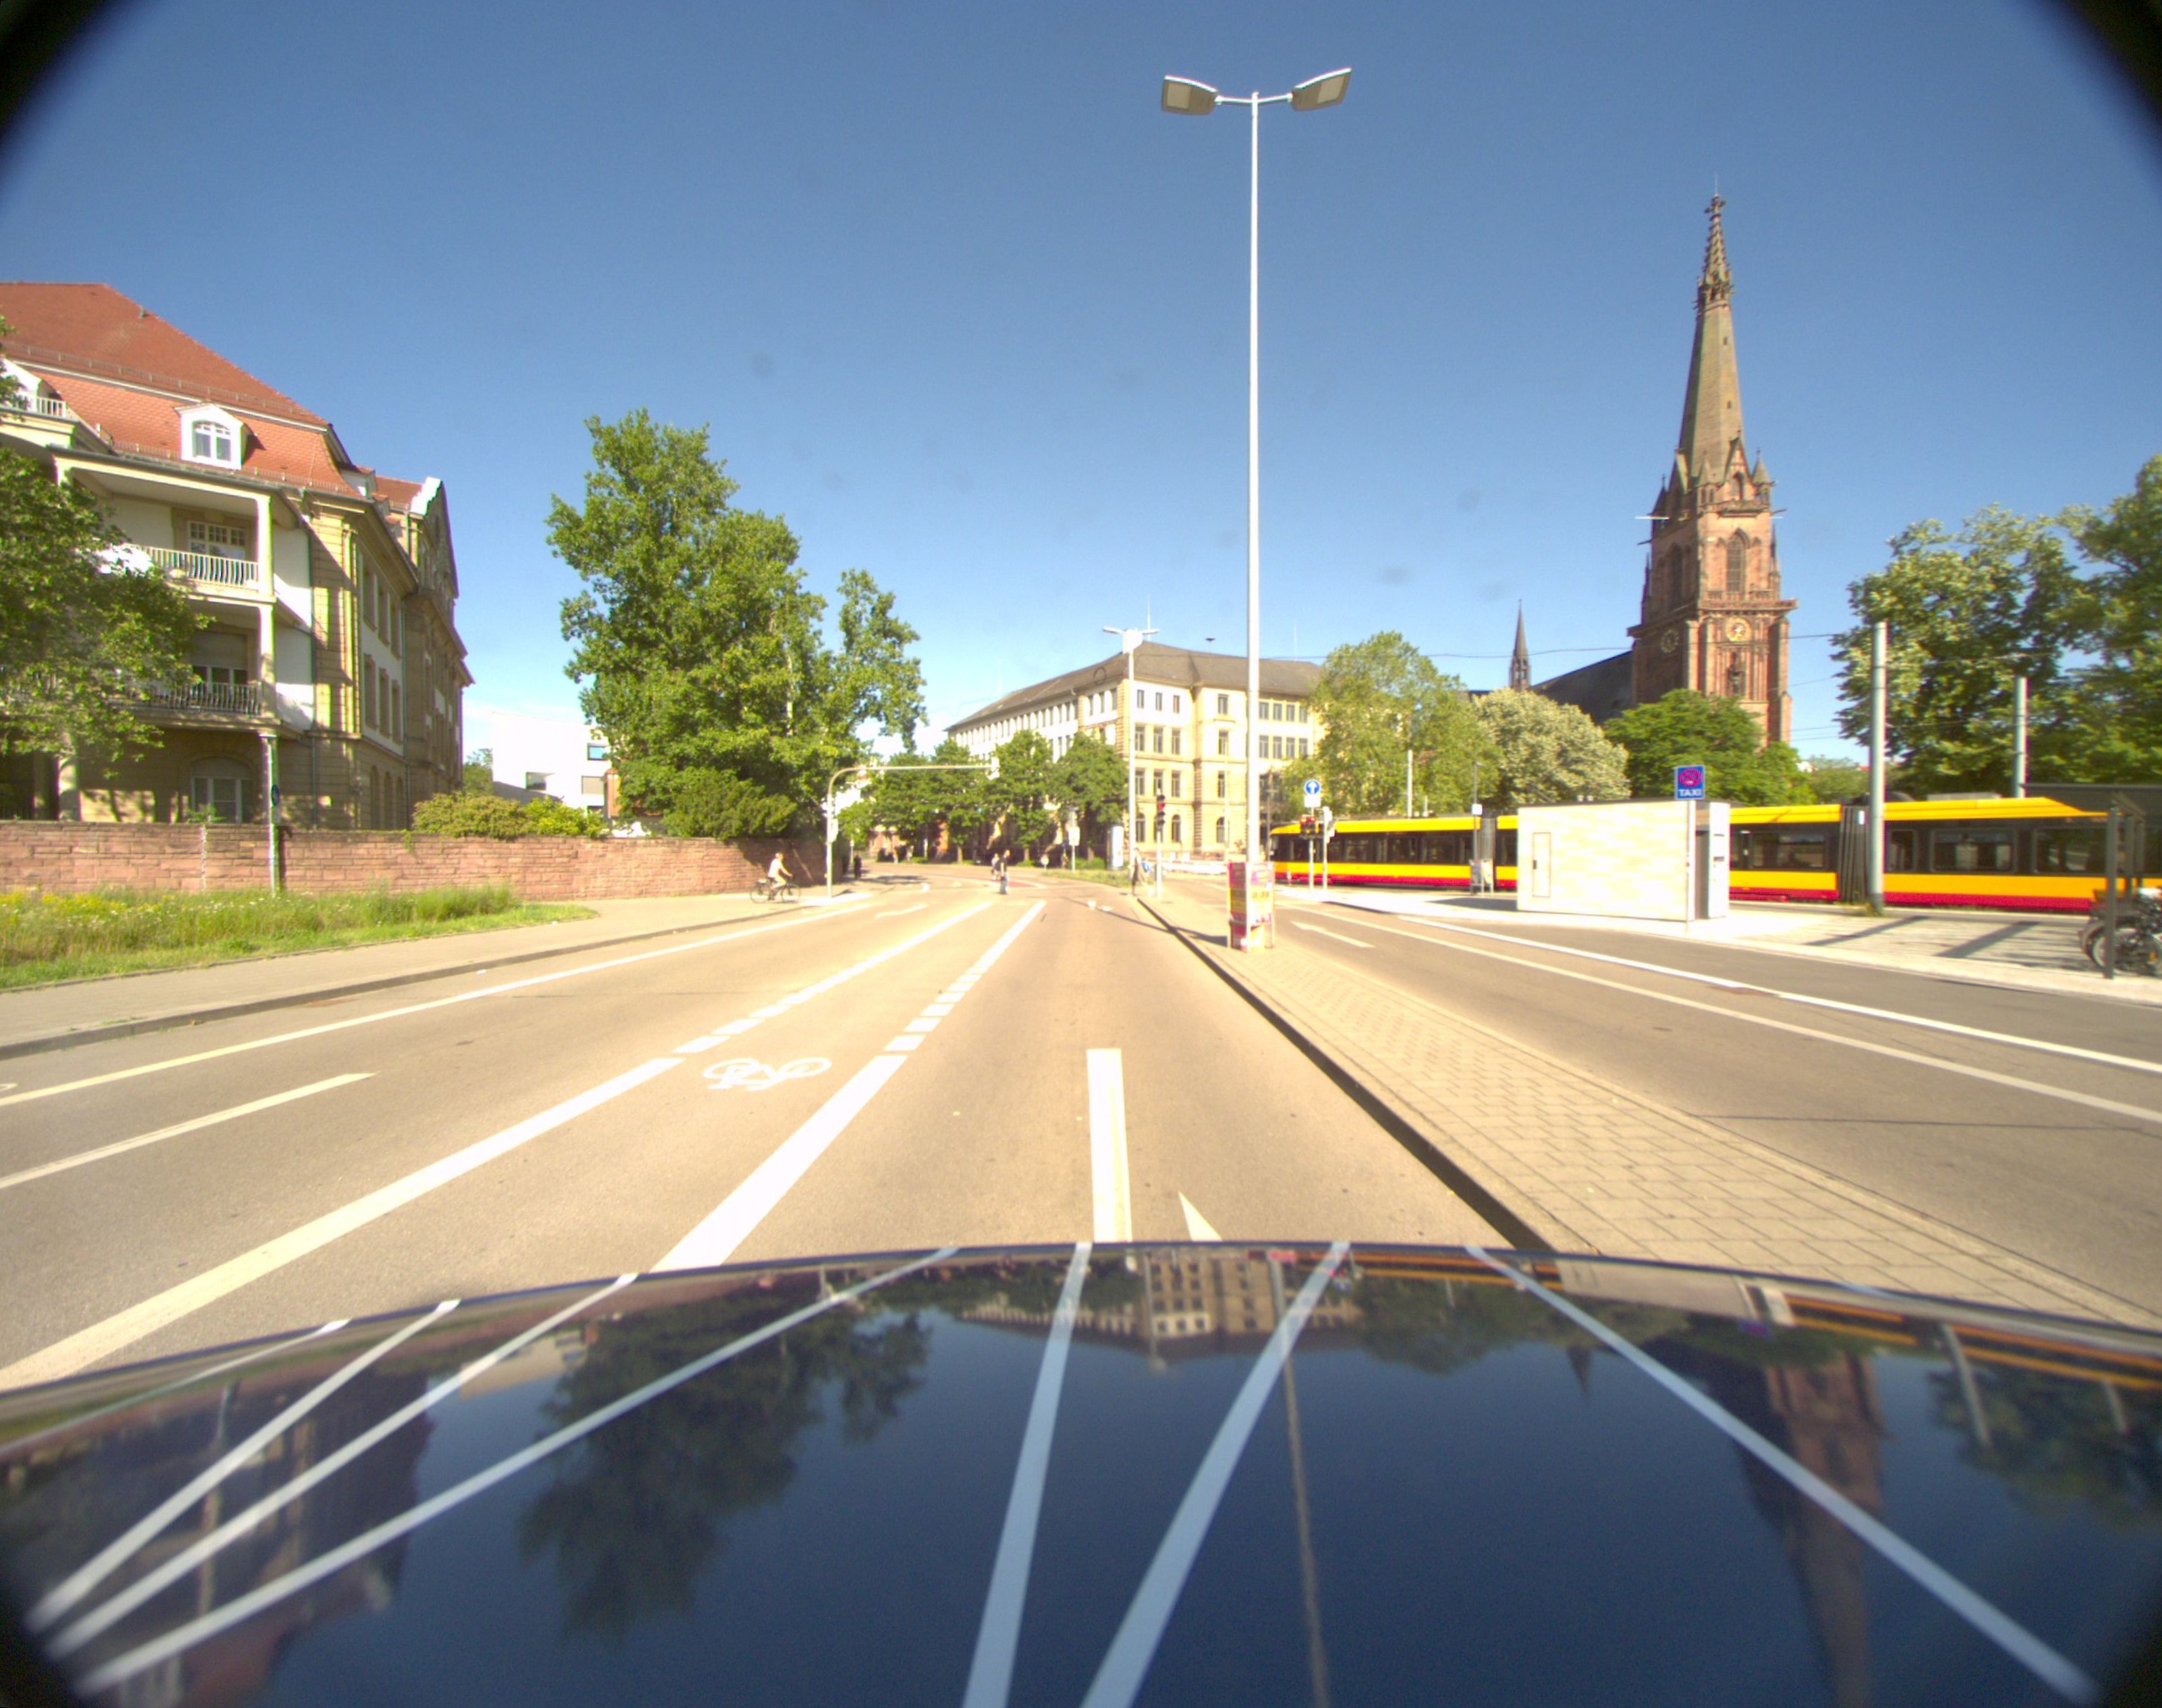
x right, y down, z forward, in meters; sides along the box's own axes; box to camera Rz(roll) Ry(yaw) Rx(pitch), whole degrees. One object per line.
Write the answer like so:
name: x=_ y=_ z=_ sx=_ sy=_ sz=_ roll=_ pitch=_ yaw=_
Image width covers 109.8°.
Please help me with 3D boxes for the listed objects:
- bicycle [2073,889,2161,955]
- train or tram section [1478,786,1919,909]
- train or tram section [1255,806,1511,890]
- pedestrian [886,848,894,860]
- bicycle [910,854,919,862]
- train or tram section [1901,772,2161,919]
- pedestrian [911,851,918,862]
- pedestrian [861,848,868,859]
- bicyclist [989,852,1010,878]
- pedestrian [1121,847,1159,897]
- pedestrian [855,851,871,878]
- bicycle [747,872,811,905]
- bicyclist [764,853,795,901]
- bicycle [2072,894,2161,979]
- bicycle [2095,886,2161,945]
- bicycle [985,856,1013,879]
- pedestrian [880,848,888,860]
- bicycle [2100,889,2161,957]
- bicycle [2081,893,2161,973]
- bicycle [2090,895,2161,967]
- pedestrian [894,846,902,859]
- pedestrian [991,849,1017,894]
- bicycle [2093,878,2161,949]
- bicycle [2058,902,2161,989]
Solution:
bicycle: x=17.815 y=1.129 z=12.461 sx=0.630 sy=1.002 sz=1.826 roll=-1 pitch=1 yaw=-32
train or tram section: x=21.545 y=-0.235 z=28.031 sx=2.806 sy=3.580 sz=12.294 roll=-1 pitch=1 yaw=-35
train or tram section: x=14.450 y=-0.285 z=38.220 sx=2.806 sy=3.580 sz=12.504 roll=-1 pitch=1 yaw=-35
pedestrian: x=-29.138 y=-0.055 z=115.958 sx=0.759 sy=1.801 sz=0.978 roll=-1 pitch=-3 yaw=-38
bicycle: x=-21.746 y=0.569 z=99.204 sx=0.602 sy=1.000 sz=1.983 roll=-3 pitch=1 yaw=-28
train or tram section: x=28.562 y=-0.209 z=17.881 sx=2.838 sy=3.580 sz=12.294 roll=-1 pitch=1 yaw=-35
pedestrian: x=-21.730 y=0.303 z=99.123 sx=0.597 sy=1.394 sz=0.644 roll=-3 pitch=2 yaw=-28
pedestrian: x=-35.500 y=-0.075 z=124.468 sx=0.759 sy=1.802 sz=0.978 roll=-1 pitch=1 yaw=-38
bicyclist: x=-5.105 y=0.684 z=47.296 sx=0.871 sy=1.551 sz=1.277 roll=-1 pitch=1 yaw=-29
pedestrian: x=2.196 y=0.656 z=28.584 sx=1.230 sy=1.845 sz=0.826 roll=0 pitch=1 yaw=-14
pedestrian: x=-13.913 y=0.662 z=48.508 sx=0.940 sy=1.711 sz=0.994 roll=0 pitch=1 yaw=-12
bicycle: x=-10.399 y=1.193 z=26.222 sx=1.889 sy=1.063 sz=0.723 roll=4 pitch=-3 yaw=-42
bicyclist: x=-10.411 y=0.777 z=26.215 sx=0.779 sy=1.596 sz=0.720 roll=-2 pitch=2 yaw=-40
bicycle: x=14.674 y=1.123 z=10.062 sx=0.630 sy=1.059 sz=1.826 roll=-1 pitch=1 yaw=-32
bicycle: x=19.528 y=1.115 z=13.457 sx=0.630 sy=1.002 sz=1.826 roll=-1 pitch=1 yaw=-32
bicycle: x=-5.129 y=0.844 z=47.220 sx=0.763 sy=1.360 sz=2.731 roll=-1 pitch=1 yaw=-28
pedestrian: x=-29.887 y=-0.021 z=115.412 sx=0.759 sy=1.801 sz=0.978 roll=-1 pitch=-3 yaw=-39
bicycle: x=17.168 y=1.091 z=11.625 sx=0.630 sy=1.002 sz=1.826 roll=-1 pitch=1 yaw=-32
bicycle: x=15.144 y=1.109 z=10.328 sx=0.574 sy=1.045 sz=1.826 roll=-1 pitch=1 yaw=-32
bicycle: x=16.181 y=1.154 z=11.000 sx=0.630 sy=1.002 sz=1.826 roll=-1 pitch=1 yaw=-32
pedestrian: x=-26.165 y=-0.194 z=108.496 sx=0.759 sy=1.802 sz=0.977 roll=-1 pitch=1 yaw=-40
pedestrian: x=-3.208 y=0.731 z=31.615 sx=0.960 sy=1.839 sz=0.731 roll=1 pitch=1 yaw=2
bicycle: x=18.949 y=1.039 z=13.049 sx=0.630 sy=1.173 sz=1.826 roll=-1 pitch=1 yaw=-32
bicycle: x=13.939 y=1.199 z=9.593 sx=0.702 sy=1.002 sz=1.863 roll=-1 pitch=2 yaw=-32
